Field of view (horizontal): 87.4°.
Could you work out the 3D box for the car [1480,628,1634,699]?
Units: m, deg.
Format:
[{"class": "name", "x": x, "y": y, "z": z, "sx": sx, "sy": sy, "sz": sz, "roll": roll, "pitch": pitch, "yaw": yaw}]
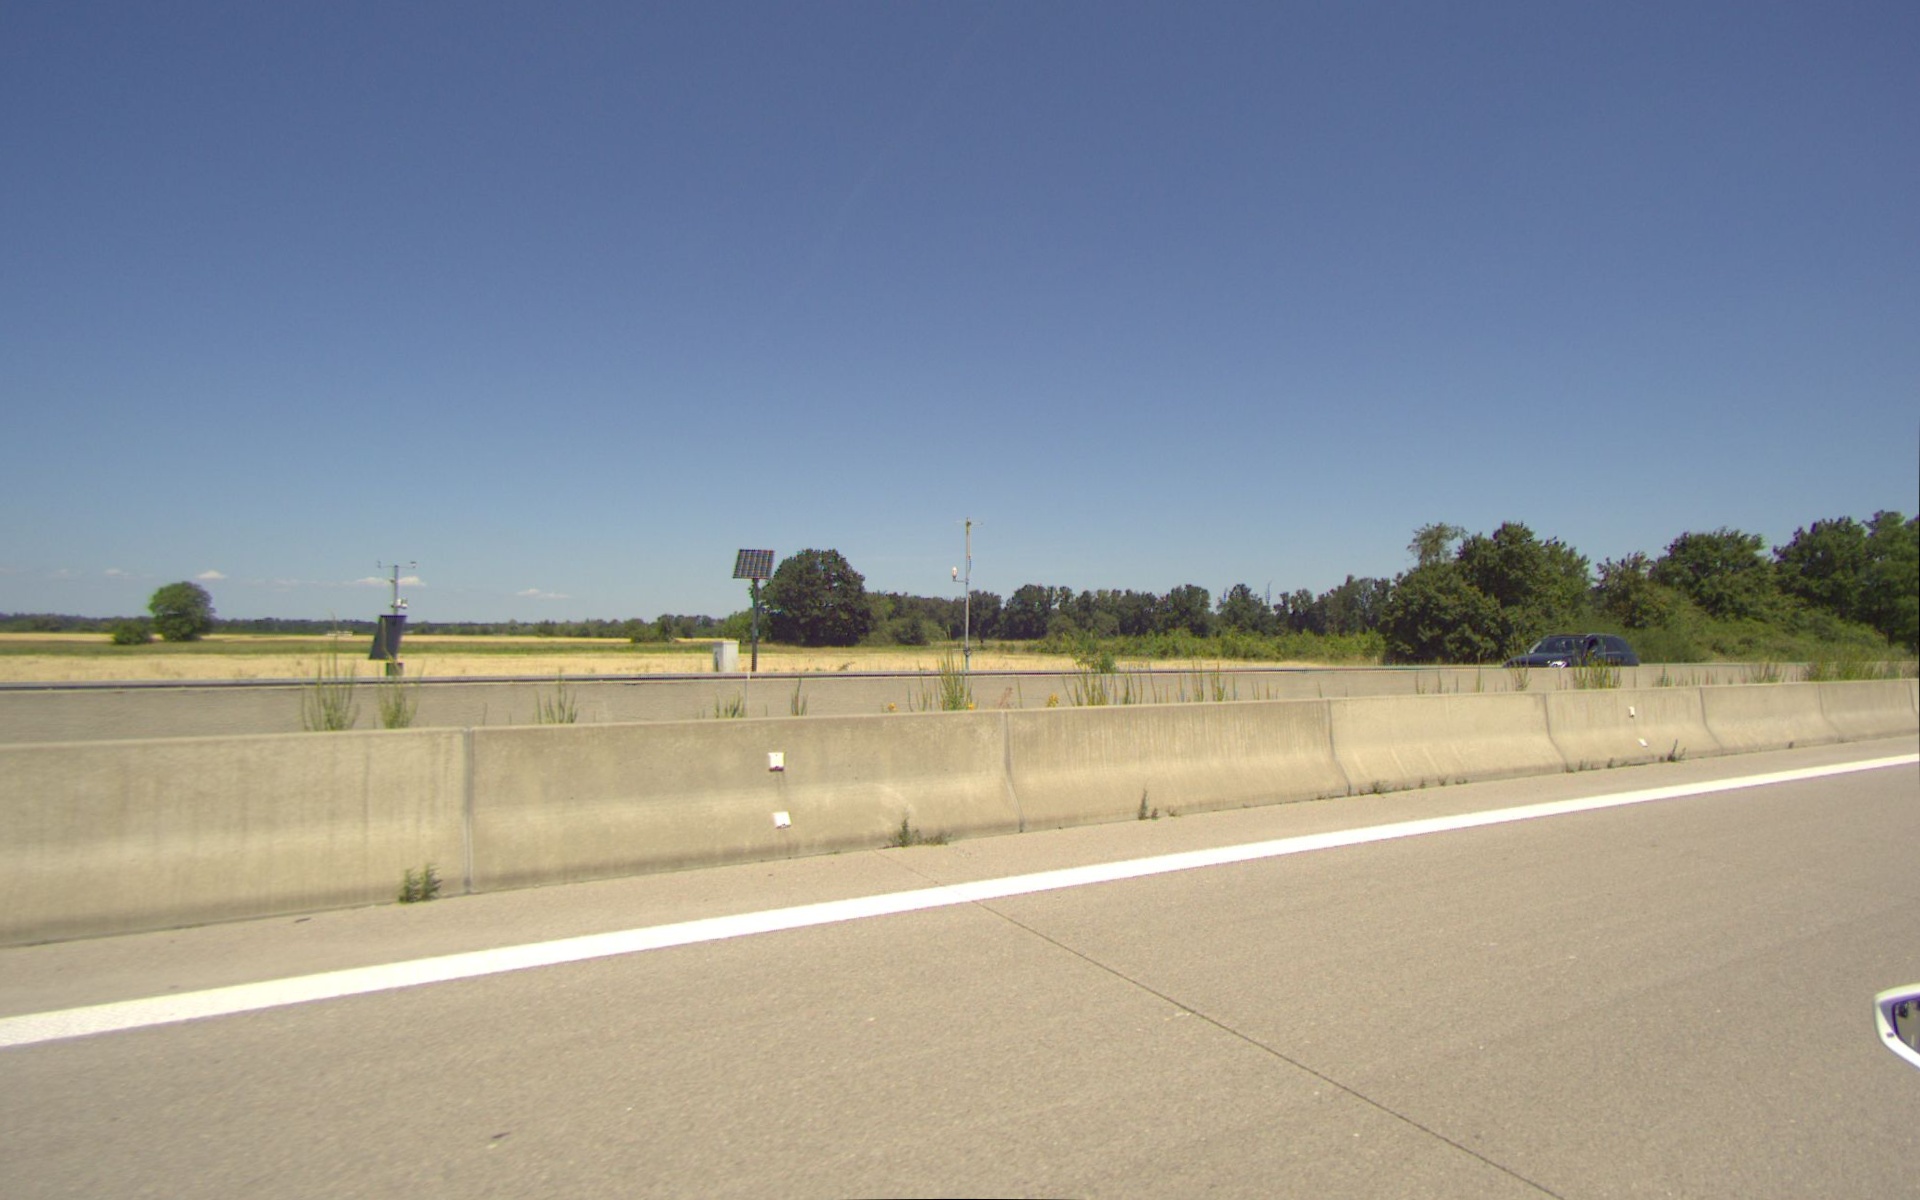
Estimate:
[{"class": "car", "x": 17.463, "y": 1.786, "z": 29.311, "sx": 4.765, "sy": 1.862, "sz": 1.982, "roll": 2, "pitch": 0, "yaw": -33}]
